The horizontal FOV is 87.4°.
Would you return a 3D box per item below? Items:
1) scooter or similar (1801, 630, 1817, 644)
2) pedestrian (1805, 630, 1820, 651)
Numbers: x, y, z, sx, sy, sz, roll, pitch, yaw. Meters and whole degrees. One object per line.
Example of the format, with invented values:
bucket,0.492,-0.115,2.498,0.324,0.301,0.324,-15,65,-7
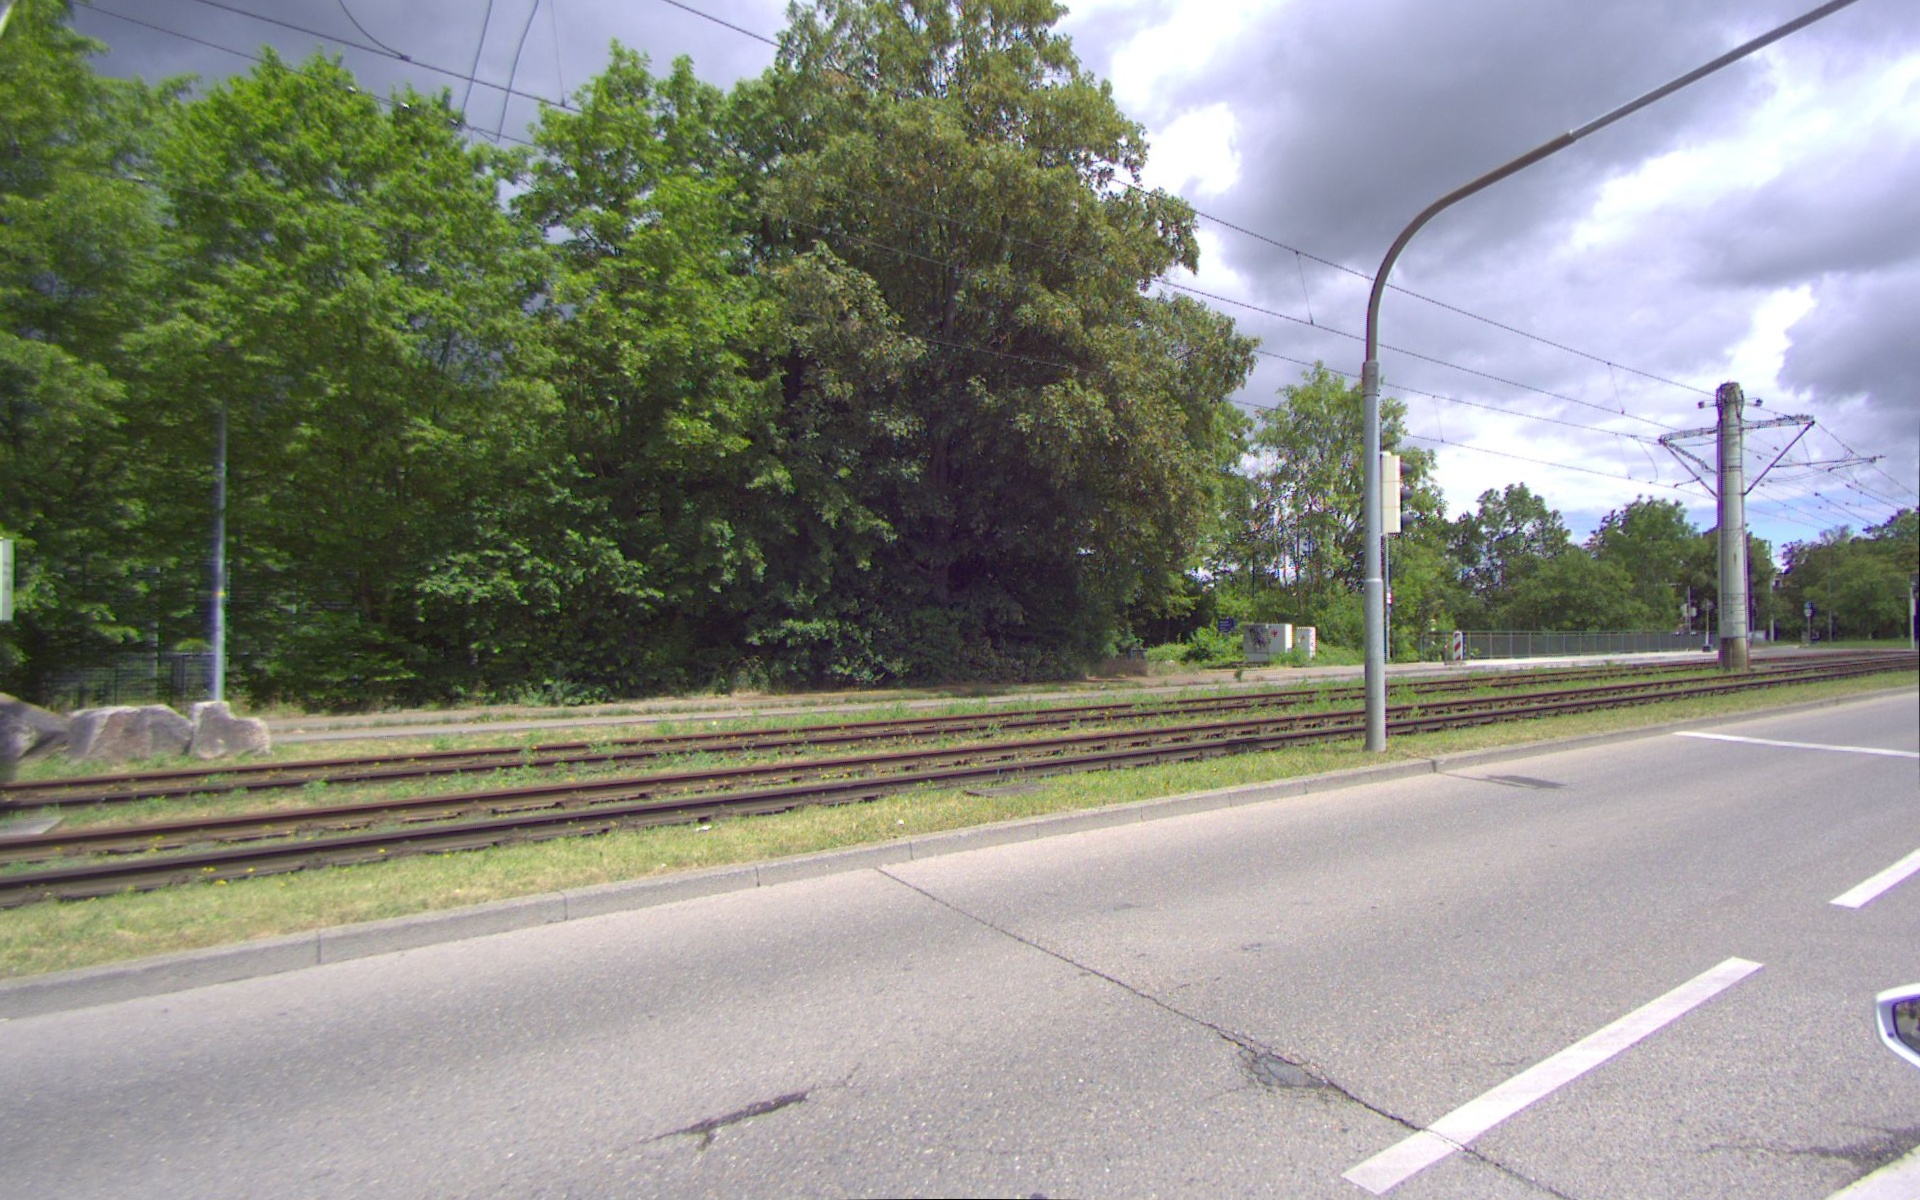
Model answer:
scooter or similar,74.815,3.269,88.484,0.963,1.200,0.884,2,-1,-36
pedestrian,75.573,3.560,89.018,0.800,1.835,0.796,2,0,-35
